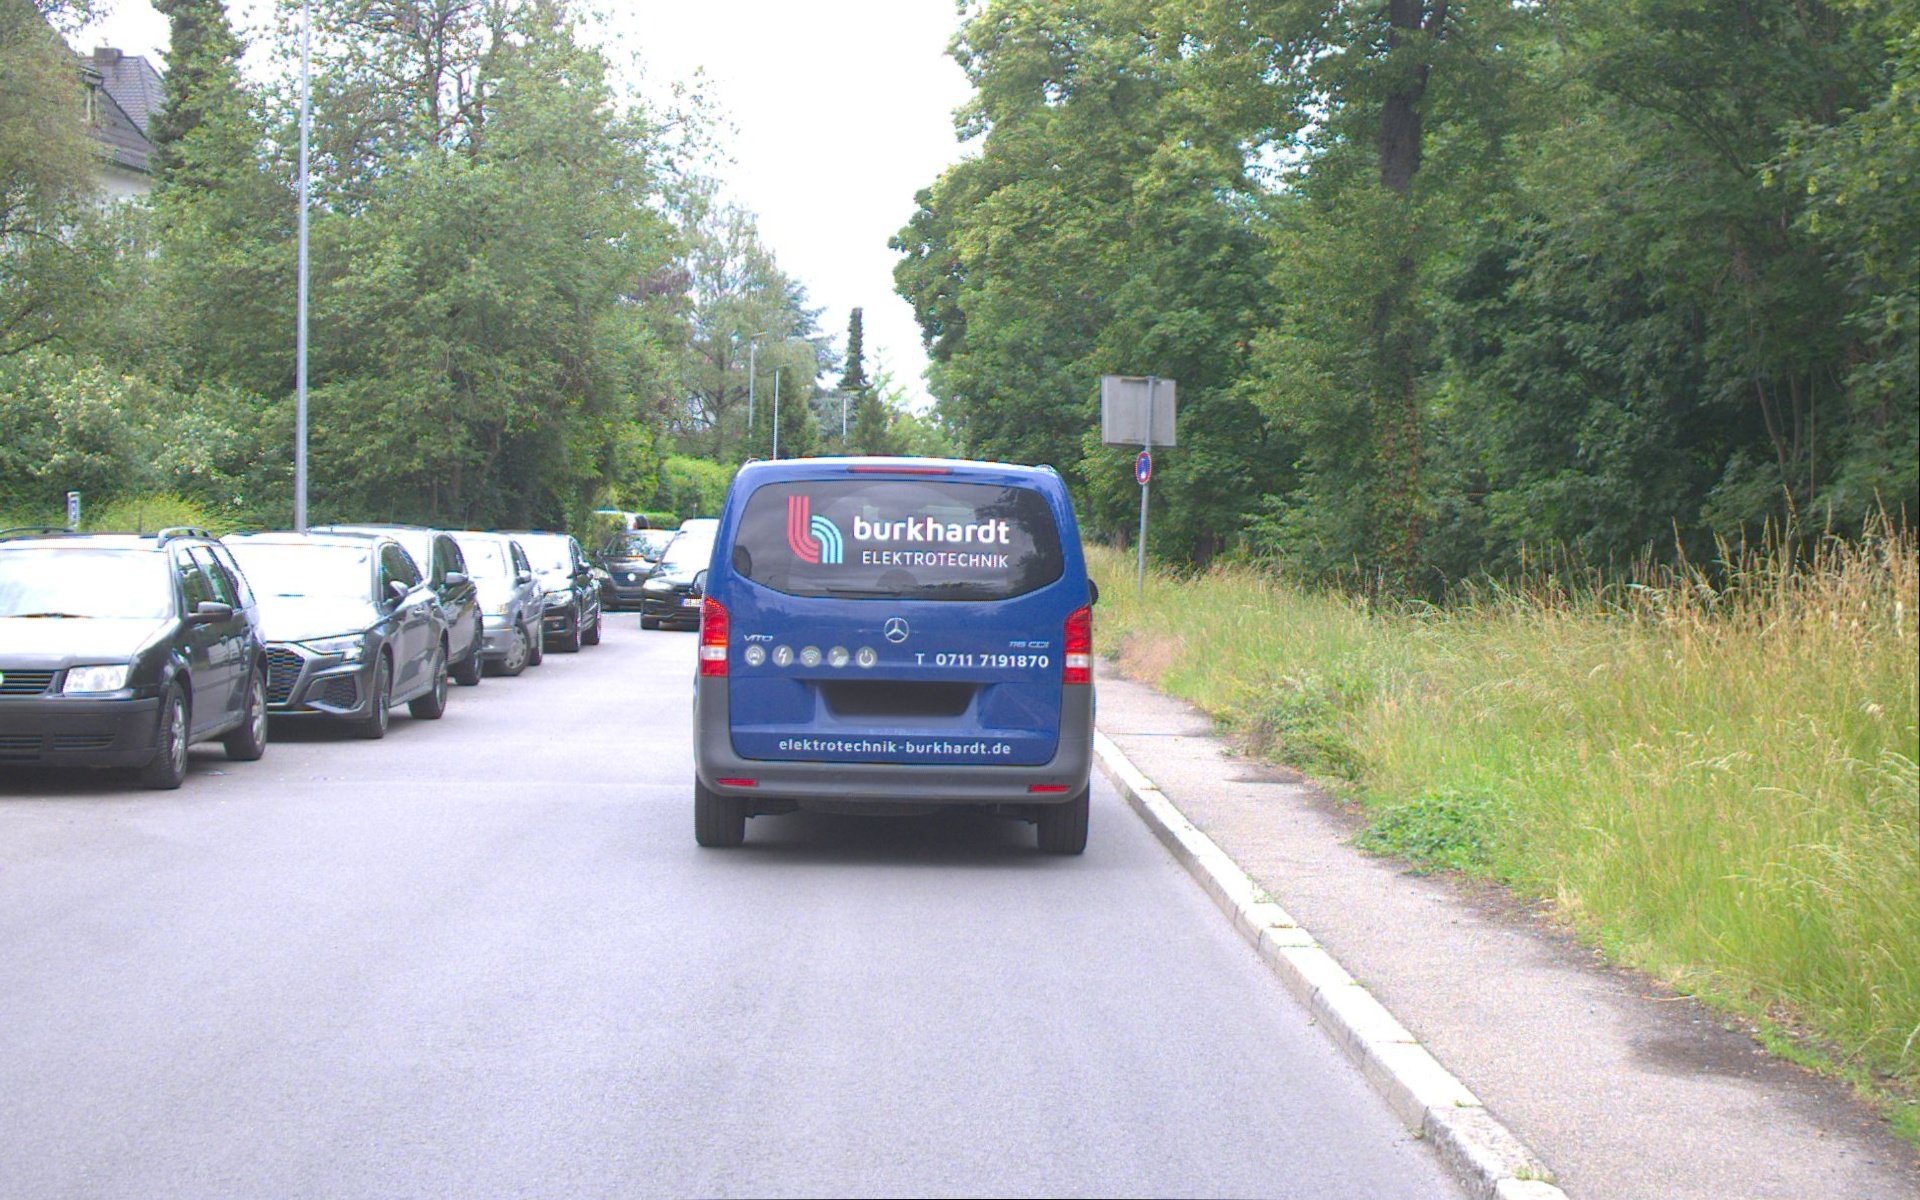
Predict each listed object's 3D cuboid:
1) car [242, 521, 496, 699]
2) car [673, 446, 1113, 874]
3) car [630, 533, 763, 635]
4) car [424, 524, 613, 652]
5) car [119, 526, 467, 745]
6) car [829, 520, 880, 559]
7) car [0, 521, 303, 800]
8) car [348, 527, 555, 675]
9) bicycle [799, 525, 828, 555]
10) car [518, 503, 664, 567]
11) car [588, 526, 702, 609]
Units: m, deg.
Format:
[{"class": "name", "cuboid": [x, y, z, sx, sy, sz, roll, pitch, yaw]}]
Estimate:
[{"class": "car", "cuboid": [-5.220, 0.042, 30.799, 1.624, 1.477, 4.000, 0, 1, -1]}, {"class": "car", "cuboid": [-0.405, 0.185, 17.327, 1.888, 1.837, 4.001, 2, 2, -3]}, {"class": "car", "cuboid": [-3.951, -0.277, 52.175, 1.780, 1.421, 4.490, 2, 1, -2]}, {"class": "car", "cuboid": [-5.349, -0.189, 42.180, 1.778, 1.427, 5.106, 2, 1, -2]}, {"class": "car", "cuboid": [-4.850, 0.193, 25.579, 1.706, 1.477, 4.496, 0, 1, 0]}, {"class": "car", "cuboid": [-4.676, -2.692, 152.533, 1.836, 1.625, 4.300, 3, 1, 3]}, {"class": "car", "cuboid": [-5.198, 0.269, 20.607, 1.682, 1.477, 4.693, 0, 1, -1]}, {"class": "car", "cuboid": [-5.217, -0.036, 35.692, 1.624, 1.427, 4.352, 0, 1, -2]}, {"class": "bicycle", "cuboid": [-6.383, -2.619, 149.675, 0.906, 1.247, 2.916, 4, 1, 3]}, {"class": "car", "cuboid": [-10.559, -1.861, 98.409, 3.694, 1.632, 1.827, 3, 1, 13]}, {"class": "car", "cuboid": [-5.683, -0.615, 62.397, 1.623, 1.445, 3.969, 1, 1, 1]}]
